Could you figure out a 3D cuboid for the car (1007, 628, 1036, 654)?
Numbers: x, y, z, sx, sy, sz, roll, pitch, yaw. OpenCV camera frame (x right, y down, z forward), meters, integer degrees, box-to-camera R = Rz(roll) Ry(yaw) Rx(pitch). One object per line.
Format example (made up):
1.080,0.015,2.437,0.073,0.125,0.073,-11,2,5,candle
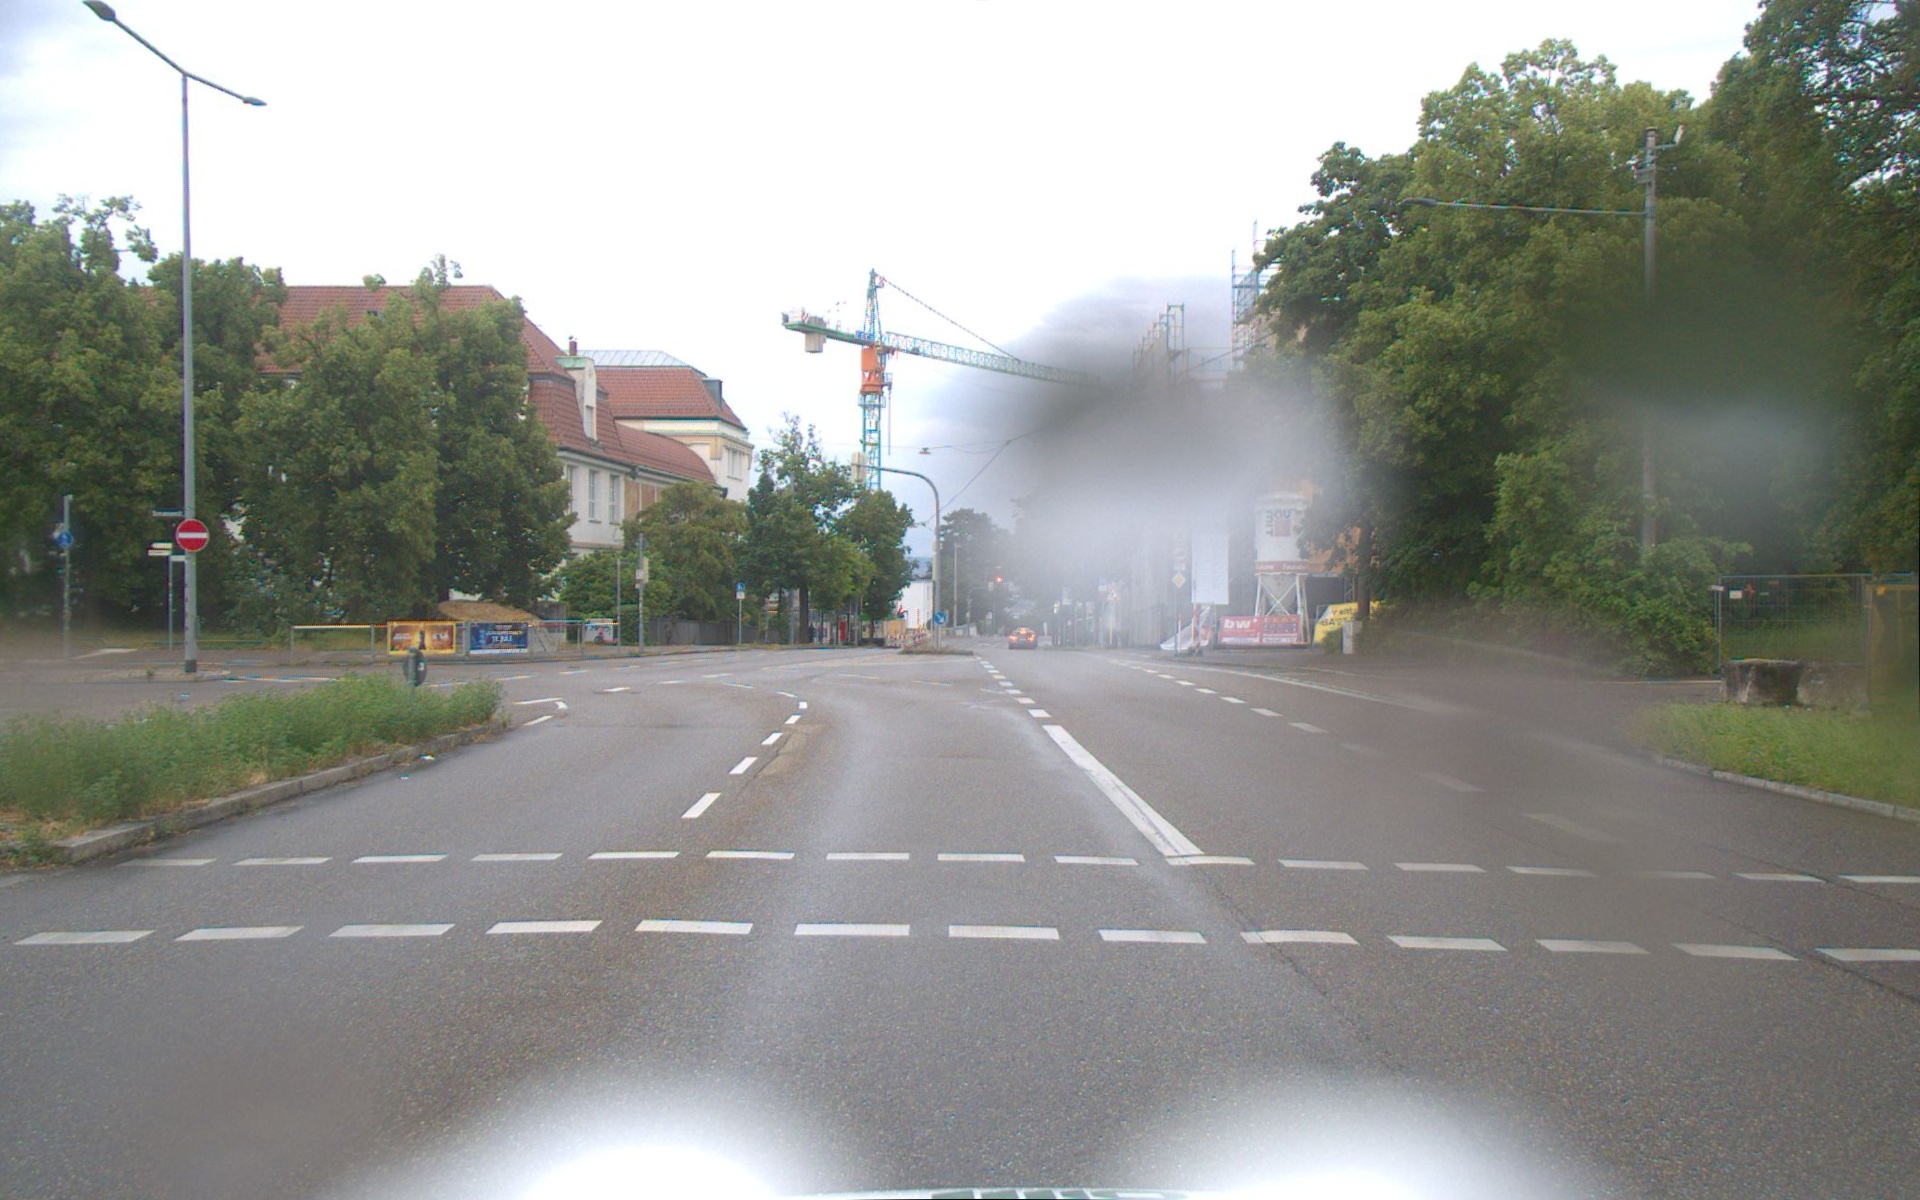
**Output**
4.597,3.065,124.585,1.953,1.780,3.999,-1,0,-1,car

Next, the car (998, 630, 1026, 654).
4.061,3.318,130.371,1.953,1.780,3.999,-1,0,-1,car

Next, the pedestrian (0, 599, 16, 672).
-23.571,0.844,39.975,0.903,1.757,0.947,1,-1,6,pedestrian

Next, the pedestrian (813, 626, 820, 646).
-10.314,2.608,119.176,0.465,1.421,0.411,0,0,-1,pedestrian

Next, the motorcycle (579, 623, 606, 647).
-14.267,1.346,64.205,0.832,0.893,0.877,1,0,-1,motorcycle

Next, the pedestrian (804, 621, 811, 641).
-10.966,2.231,119.175,0.465,1.421,0.411,-1,0,-1,pedestrian

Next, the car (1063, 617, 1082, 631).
14.942,3.115,219.519,1.951,1.780,4.003,-1,0,10,car

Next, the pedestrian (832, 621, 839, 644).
-9.080,2.342,120.774,0.484,1.674,0.533,1,-1,-7,pedestrian
